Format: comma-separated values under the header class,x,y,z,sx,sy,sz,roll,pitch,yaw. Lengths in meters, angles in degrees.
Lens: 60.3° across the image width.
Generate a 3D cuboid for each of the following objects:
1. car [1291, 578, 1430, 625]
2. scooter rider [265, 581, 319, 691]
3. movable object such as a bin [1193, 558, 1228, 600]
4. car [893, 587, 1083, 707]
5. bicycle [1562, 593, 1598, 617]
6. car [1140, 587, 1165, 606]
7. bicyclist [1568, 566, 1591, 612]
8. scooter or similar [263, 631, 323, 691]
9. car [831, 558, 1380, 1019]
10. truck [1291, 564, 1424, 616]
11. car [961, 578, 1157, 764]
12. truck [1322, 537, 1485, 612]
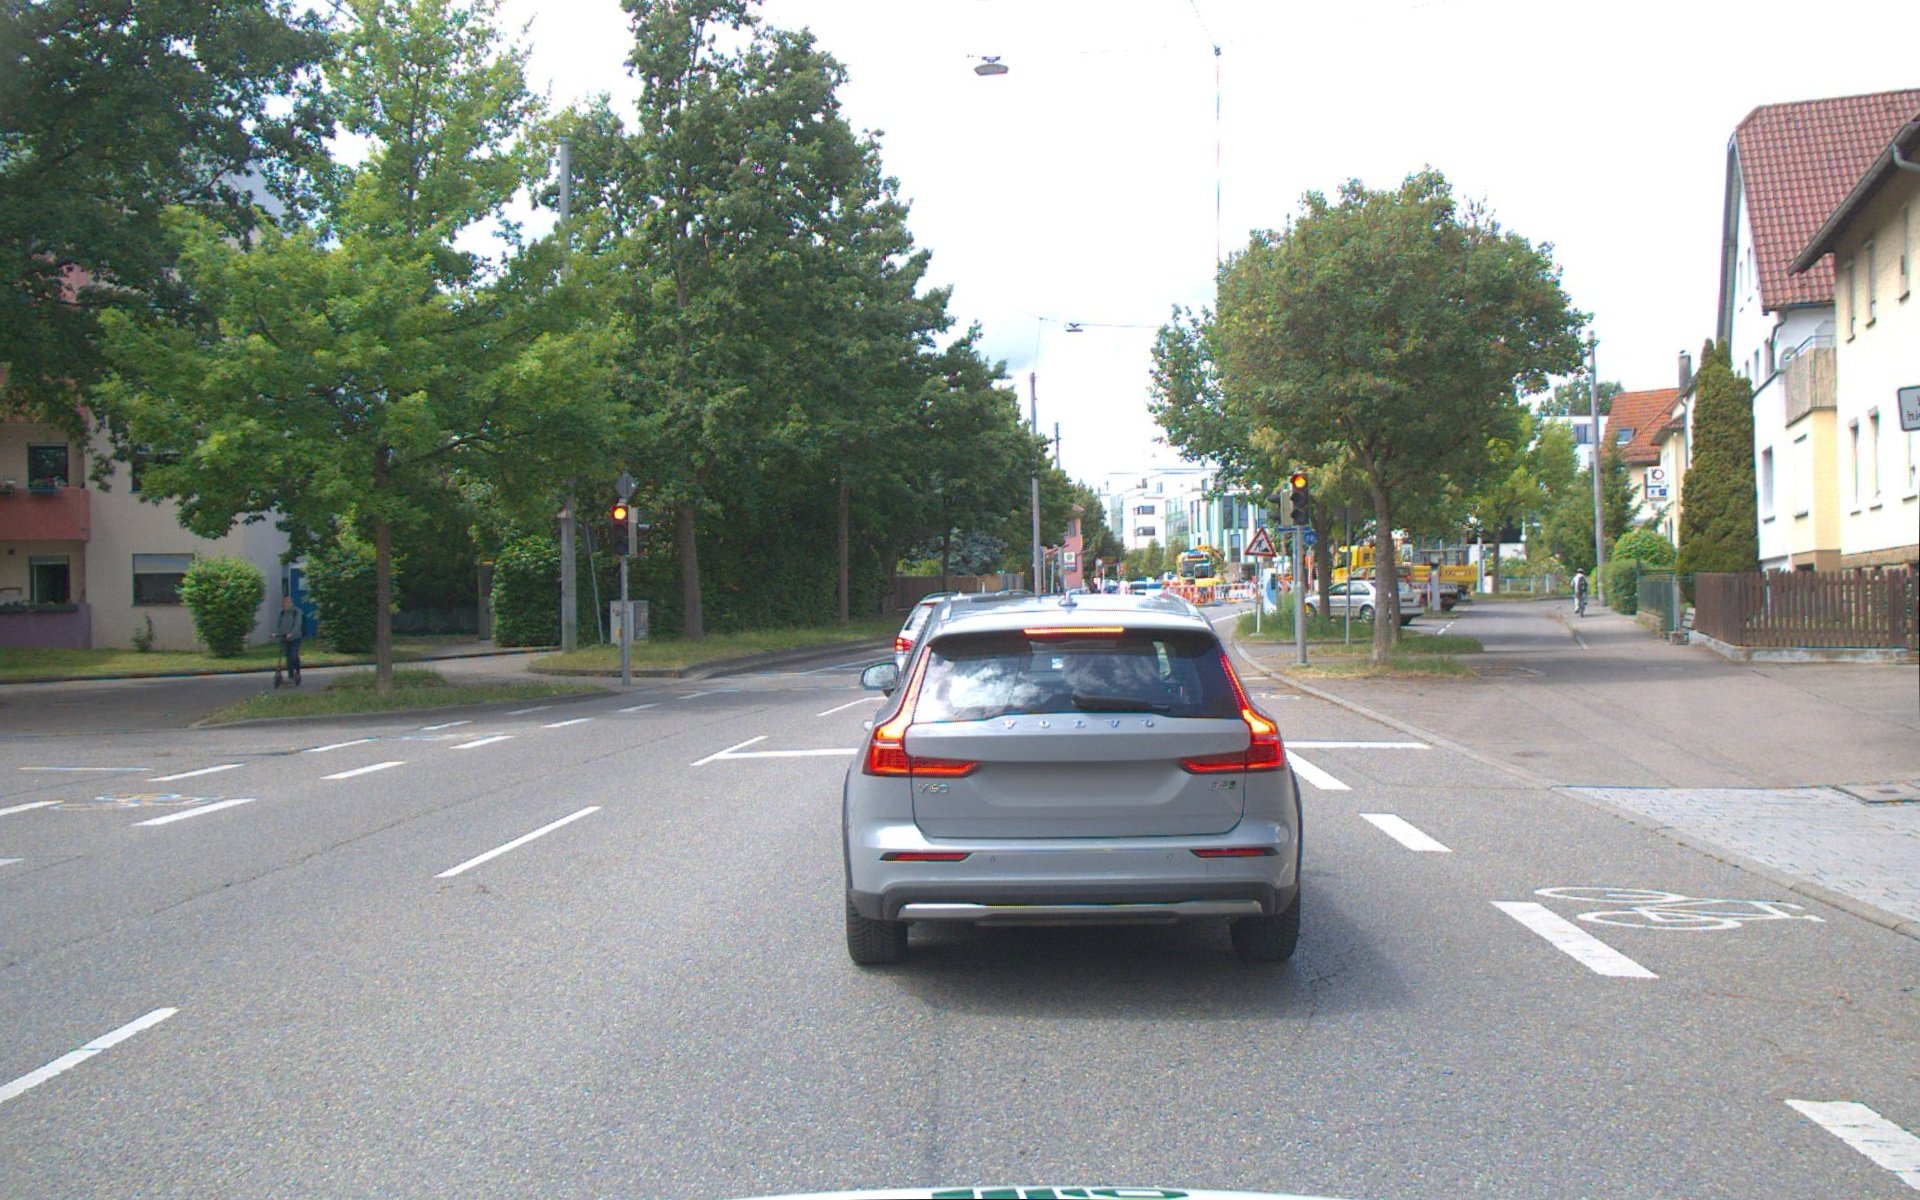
class,x,y,z,sx,sy,sz,roll,pitch,yaw
car,13.219,0.017,54.870,1.745,1.477,4.638,-1,1,-32
scooter rider,-12.663,0.672,31.359,0.663,2.049,0.794,1,-1,-1
movable object such as a bin,16.641,-1.395,109.778,1.991,2.689,5.945,-2,0,11
car,0.497,0.626,23.353,2.057,1.536,4.003,-1,-1,10
bicycle,21.880,0.160,58.386,0.582,0.826,1.753,1,0,-1
car,15.373,-0.248,131.744,1.789,1.353,4.003,1,-2,9
bicyclist,21.888,-0.380,58.404,0.577,1.586,0.566,1,-1,-1
scooter or similar,-12.651,1.144,31.392,0.741,1.102,0.944,1,-1,-1
car,0.466,0.657,7.715,1.889,1.567,3.999,0,0,-1
truck,16.663,-0.423,69.654,1.976,2.049,5.610,1,0,-34
car,0.912,0.612,15.906,1.627,1.534,3.703,1,0,2
truck,19.020,-1.057,71.322,2.737,3.061,6.627,1,-1,-34
